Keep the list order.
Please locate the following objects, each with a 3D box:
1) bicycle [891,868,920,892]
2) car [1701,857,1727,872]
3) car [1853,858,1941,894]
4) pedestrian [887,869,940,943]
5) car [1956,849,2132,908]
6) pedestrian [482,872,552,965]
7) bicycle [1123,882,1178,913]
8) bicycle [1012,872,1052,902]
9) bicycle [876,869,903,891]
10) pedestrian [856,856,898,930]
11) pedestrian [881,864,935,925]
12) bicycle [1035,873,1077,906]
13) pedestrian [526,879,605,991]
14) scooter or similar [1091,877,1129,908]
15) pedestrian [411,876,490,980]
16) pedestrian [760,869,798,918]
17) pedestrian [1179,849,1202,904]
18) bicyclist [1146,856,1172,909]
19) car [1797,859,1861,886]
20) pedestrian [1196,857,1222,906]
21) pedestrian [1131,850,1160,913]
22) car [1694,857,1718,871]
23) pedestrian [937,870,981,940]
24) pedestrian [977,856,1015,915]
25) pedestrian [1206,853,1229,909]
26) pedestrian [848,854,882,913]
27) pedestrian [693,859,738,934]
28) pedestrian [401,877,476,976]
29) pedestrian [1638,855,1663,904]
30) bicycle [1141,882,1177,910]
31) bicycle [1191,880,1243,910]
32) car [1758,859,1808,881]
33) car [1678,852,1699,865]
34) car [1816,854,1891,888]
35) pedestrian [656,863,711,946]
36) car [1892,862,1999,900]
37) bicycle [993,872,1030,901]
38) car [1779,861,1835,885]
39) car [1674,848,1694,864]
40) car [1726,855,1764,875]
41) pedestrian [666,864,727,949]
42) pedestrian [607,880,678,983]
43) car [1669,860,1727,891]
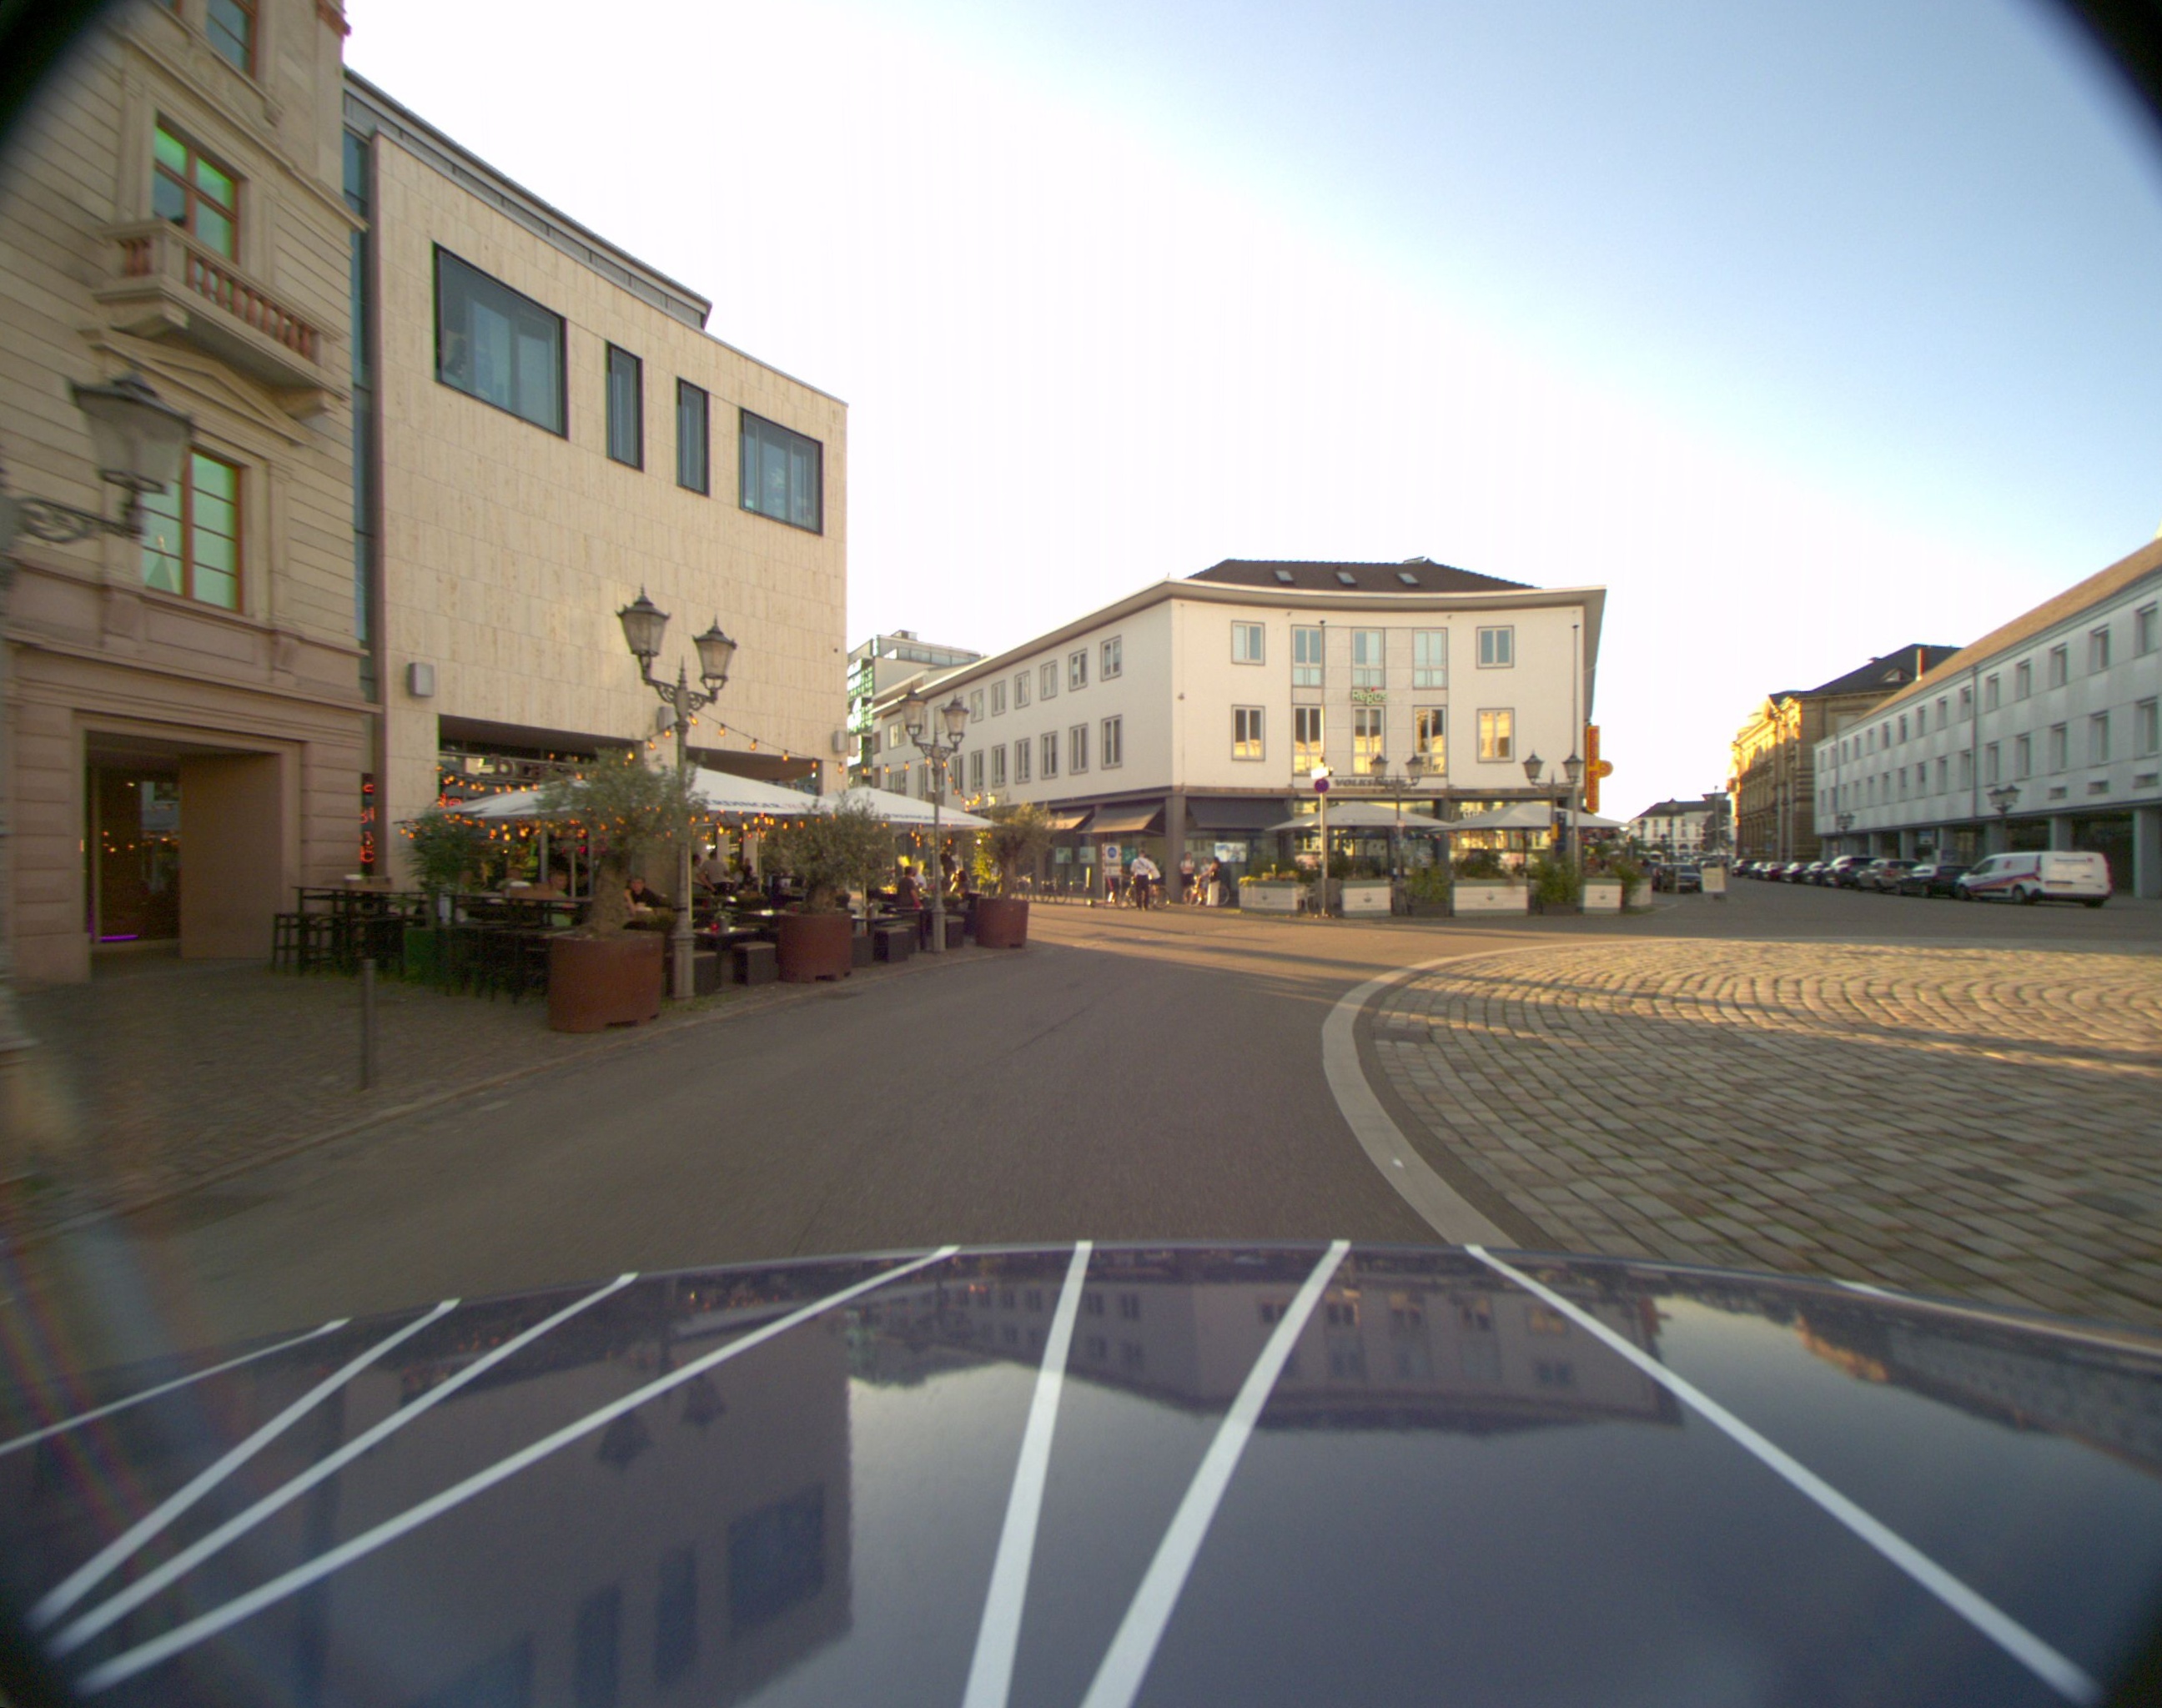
[{"bbox_3d":[-9.393,1.386,40.618,0.800,1.210,2.227,-1,0,-34],"label":"bicycle"},{"bbox_3d":[71.139,1.173,85.458,1.777,1.657,4.337,0,0,34],"label":"car"},{"bbox_3d":[37.393,0.975,34.933,1.777,1.506,3.969,0,0,32],"label":"car"},{"bbox_3d":[-3.463,1.048,15.671,0.867,1.439,0.721,0,0,-33],"label":"pedestrian"},{"bbox_3d":[32.576,0.754,25.919,2.017,1.815,4.468,0,0,27],"label":"car"},{"bbox_3d":[-9.318,1.033,12.551,0.854,1.439,0.773,0,0,-41],"label":"pedestrian"},{"bbox_3d":[2.174,1.350,23.807,1.679,0.928,0.473,0,0,-20],"label":"bicycle"},{"bbox_3d":[-1.962,1.290,30.121,0.523,1.135,1.959,-1,0,-39],"label":"bicycle"},{"bbox_3d":[-11.015,1.476,43.709,0.800,1.210,2.227,-1,0,-34],"label":"bicycle"},{"bbox_3d":[-4.954,0.931,18.448,0.718,1.737,0.708,-1,0,-42],"label":"pedestrian"},{"bbox_3d":[-4.304,0.983,18.915,0.947,1.439,0.969,0,0,-41],"label":"pedestrian"},{"bbox_3d":[-0.953,1.308,28.526,0.523,1.135,1.959,-1,0,-39],"label":"bicycle"},{"bbox_3d":[-7.130,1.084,10.533,0.867,1.439,0.721,0,0,-33],"label":"pedestrian"},{"bbox_3d":[0.983,1.283,25.703,1.206,1.005,0.486,0,0,-26],"label":"scooter or similar"},{"bbox_3d":[-9.348,1.055,11.267,0.854,1.439,0.773,0,0,-43],"label":"pedestrian"},{"bbox_3d":[-8.572,1.112,21.564,0.785,1.341,0.708,0,0,-42],"label":"pedestrian"},{"bbox_3d":[3.871,0.773,26.849,0.579,1.912,0.544,0,1,35],"label":"pedestrian"},{"bbox_3d":[2.579,0.929,25.160,0.481,1.733,0.837,0,0,35],"label":"bicyclist"},{"bbox_3d":[44.131,1.069,44.919,1.777,1.483,4.337,0,0,32],"label":"car"},{"bbox_3d":[4.396,0.942,26.171,0.618,1.666,0.735,0,0,35],"label":"pedestrian"},{"bbox_3d":[2.029,0.841,23.741,0.629,1.917,0.644,-1,1,-33],"label":"pedestrian"},{"bbox_3d":[74.474,1.171,90.588,1.777,1.657,4.337,0,0,34],"label":"car"},{"bbox_3d":[-2.604,1.064,16.216,0.694,1.439,0.721,0,0,-33],"label":"pedestrian"},{"bbox_3d":[-2.567,0.930,22.998,0.933,1.731,0.922,0,0,9],"label":"pedestrian"},{"bbox_3d":[4.497,0.865,25.005,0.507,1.807,0.720,0,1,35],"label":"pedestrian"},{"bbox_3d":[-6.485,0.871,22.798,0.718,1.737,0.708,-1,0,-41],"label":"pedestrian"},{"bbox_3d":[-8.715,0.980,18.134,0.708,1.737,0.718,0,0,39],"label":"pedestrian"},{"bbox_3d":[-10.007,1.095,11.837,0.854,1.439,0.773,0,0,-41],"label":"pedestrian"},{"bbox_3d":[19.989,0.892,26.672,0.602,1.690,0.715,0,1,28],"label":"pedestrian"},{"bbox_3d":[2.593,1.380,25.168,0.481,0.843,1.487,0,0,35],"label":"bicycle"},{"bbox_3d":[4.505,1.341,25.191,1.679,0.928,0.473,0,0,-20],"label":"bicycle"},{"bbox_3d":[49.865,1.090,54.042,1.777,1.483,4.337,0,0,32],"label":"car"},{"bbox_3d":[80.627,0.570,100.848,1.777,1.657,4.337,0,0,34],"label":"car"},{"bbox_3d":[40.803,0.843,40.233,1.777,1.718,4.337,0,0,32],"label":"car"},{"bbox_3d":[-8.911,1.101,17.036,0.727,1.792,0.852,0,0,39],"label":"pedestrian"},{"bbox_3d":[34.967,1.038,30.876,1.777,1.416,3.969,0,0,32],"label":"car"},{"bbox_3d":[-2.913,1.333,31.588,0.523,1.135,1.959,-1,0,-39],"label":"bicycle"},{"bbox_3d":[46.886,1.200,49.163,1.777,1.483,4.337,0,0,32],"label":"car"},{"bbox_3d":[84.383,0.274,106.383,1.777,2.213,4.337,0,0,34],"label":"car"},{"bbox_3d":[56.960,0.933,65.226,1.777,1.657,4.337,0,0,32],"label":"car"},{"bbox_3d":[-8.401,1.113,16.612,0.726,1.792,0.984,0,0,40],"label":"pedestrian"},{"bbox_3d":[-6.536,1.120,11.328,0.867,1.439,0.721,0,0,-33],"label":"pedestrian"},{"bbox_3d":[29.936,0.997,36.975,1.777,1.416,3.969,0,0,33],"label":"car"}]
